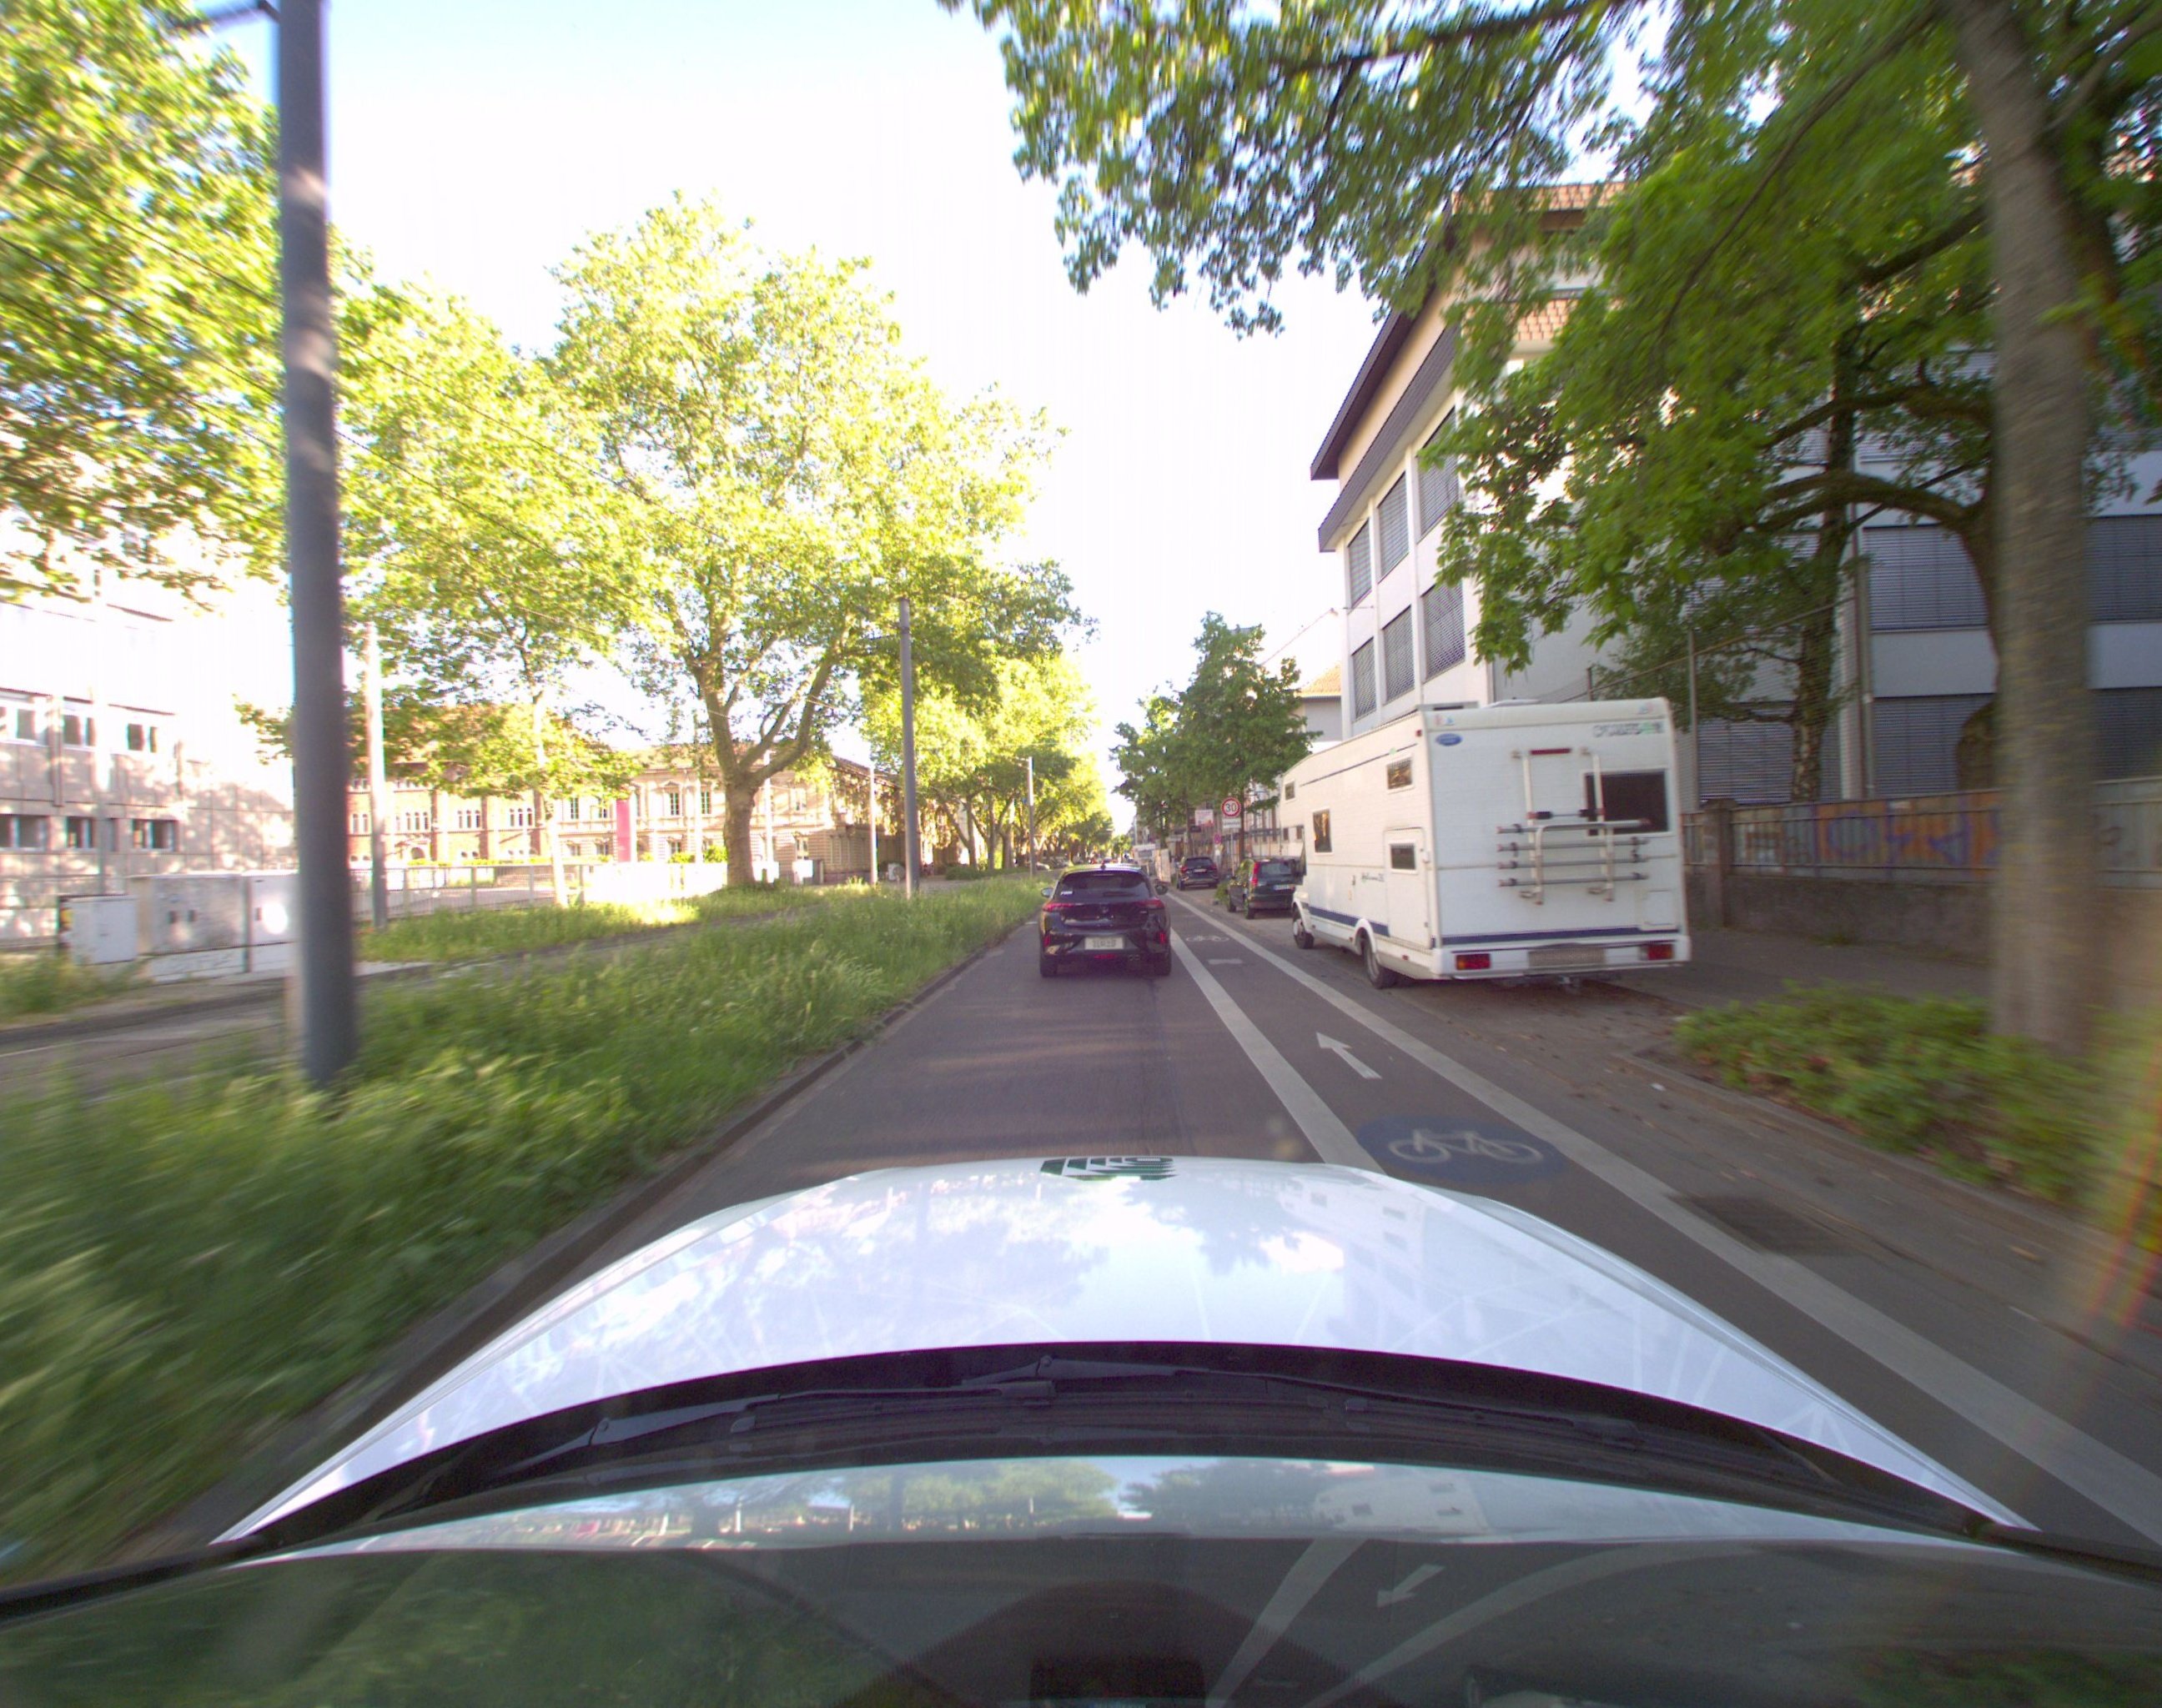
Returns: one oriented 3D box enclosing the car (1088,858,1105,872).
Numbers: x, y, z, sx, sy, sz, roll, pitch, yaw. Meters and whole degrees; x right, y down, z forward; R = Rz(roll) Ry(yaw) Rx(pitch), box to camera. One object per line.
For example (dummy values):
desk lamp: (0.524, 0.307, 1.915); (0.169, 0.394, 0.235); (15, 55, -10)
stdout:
car: (1.911, 1.264, 98.142); (1.783, 1.510, 3.877); (-4, 0, 3)

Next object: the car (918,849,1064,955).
car: (-1.438, 0.744, 14.811); (1.986, 1.627, 4.472); (0, 0, 2)

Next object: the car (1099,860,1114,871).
car: (3.608, 1.597, 113.039); (1.896, 1.425, 4.219); (-2, 0, 4)

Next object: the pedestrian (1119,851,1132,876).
pedestrian: (3.818, 0.817, 69.607); (1.032, 2.024, 1.213); (-2, -1, 1)

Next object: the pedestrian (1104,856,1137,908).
pedestrian: (1.245, 0.862, 25.587); (0.966, 1.562, 0.972); (-2, -1, 1)

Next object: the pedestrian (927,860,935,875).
pedestrian: (-15.954, 1.441, 86.479); (0.656, 1.622, 0.616); (0, -1, 1)

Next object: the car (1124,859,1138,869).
car: (7.217, 1.437, 117.882); (1.896, 1.425, 4.219); (-2, 0, 4)

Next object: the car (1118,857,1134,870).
car: (5.449, 1.110, 98.464); (1.896, 1.425, 4.219); (-2, 0, 4)

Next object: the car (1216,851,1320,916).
car: (4.611, 0.686, 20.626); (1.680, 1.420, 4.048); (-3, 0, 0)

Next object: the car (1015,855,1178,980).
car: (0.319, 0.760, 11.787); (1.896, 1.425, 4.219); (-2, 0, 4)

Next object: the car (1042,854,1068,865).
car: (-5.719, 1.270, 180.285); (5.664, 2.198, 2.290); (-2, -1, 2)

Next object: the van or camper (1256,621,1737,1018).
van or camper: (4.269, -0.269, 10.579); (2.367, 3.125, 7.554); (-5, 0, 2)

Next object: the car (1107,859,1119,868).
car: (5.550, 1.564, 140.056); (1.896, 1.425, 4.219); (-2, 0, 4)

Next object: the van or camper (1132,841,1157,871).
van or camper: (6.504, 0.231, 83.909); (2.475, 2.994, 5.439); (0, 0, 4)

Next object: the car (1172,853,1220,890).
car: (5.239, 0.761, 37.581); (1.783, 1.510, 3.877); (-4, 0, 3)

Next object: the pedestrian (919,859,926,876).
pedestrian: (-16.773, 1.444, 86.228); (0.616, 1.733, 0.596); (0, -1, 1)
